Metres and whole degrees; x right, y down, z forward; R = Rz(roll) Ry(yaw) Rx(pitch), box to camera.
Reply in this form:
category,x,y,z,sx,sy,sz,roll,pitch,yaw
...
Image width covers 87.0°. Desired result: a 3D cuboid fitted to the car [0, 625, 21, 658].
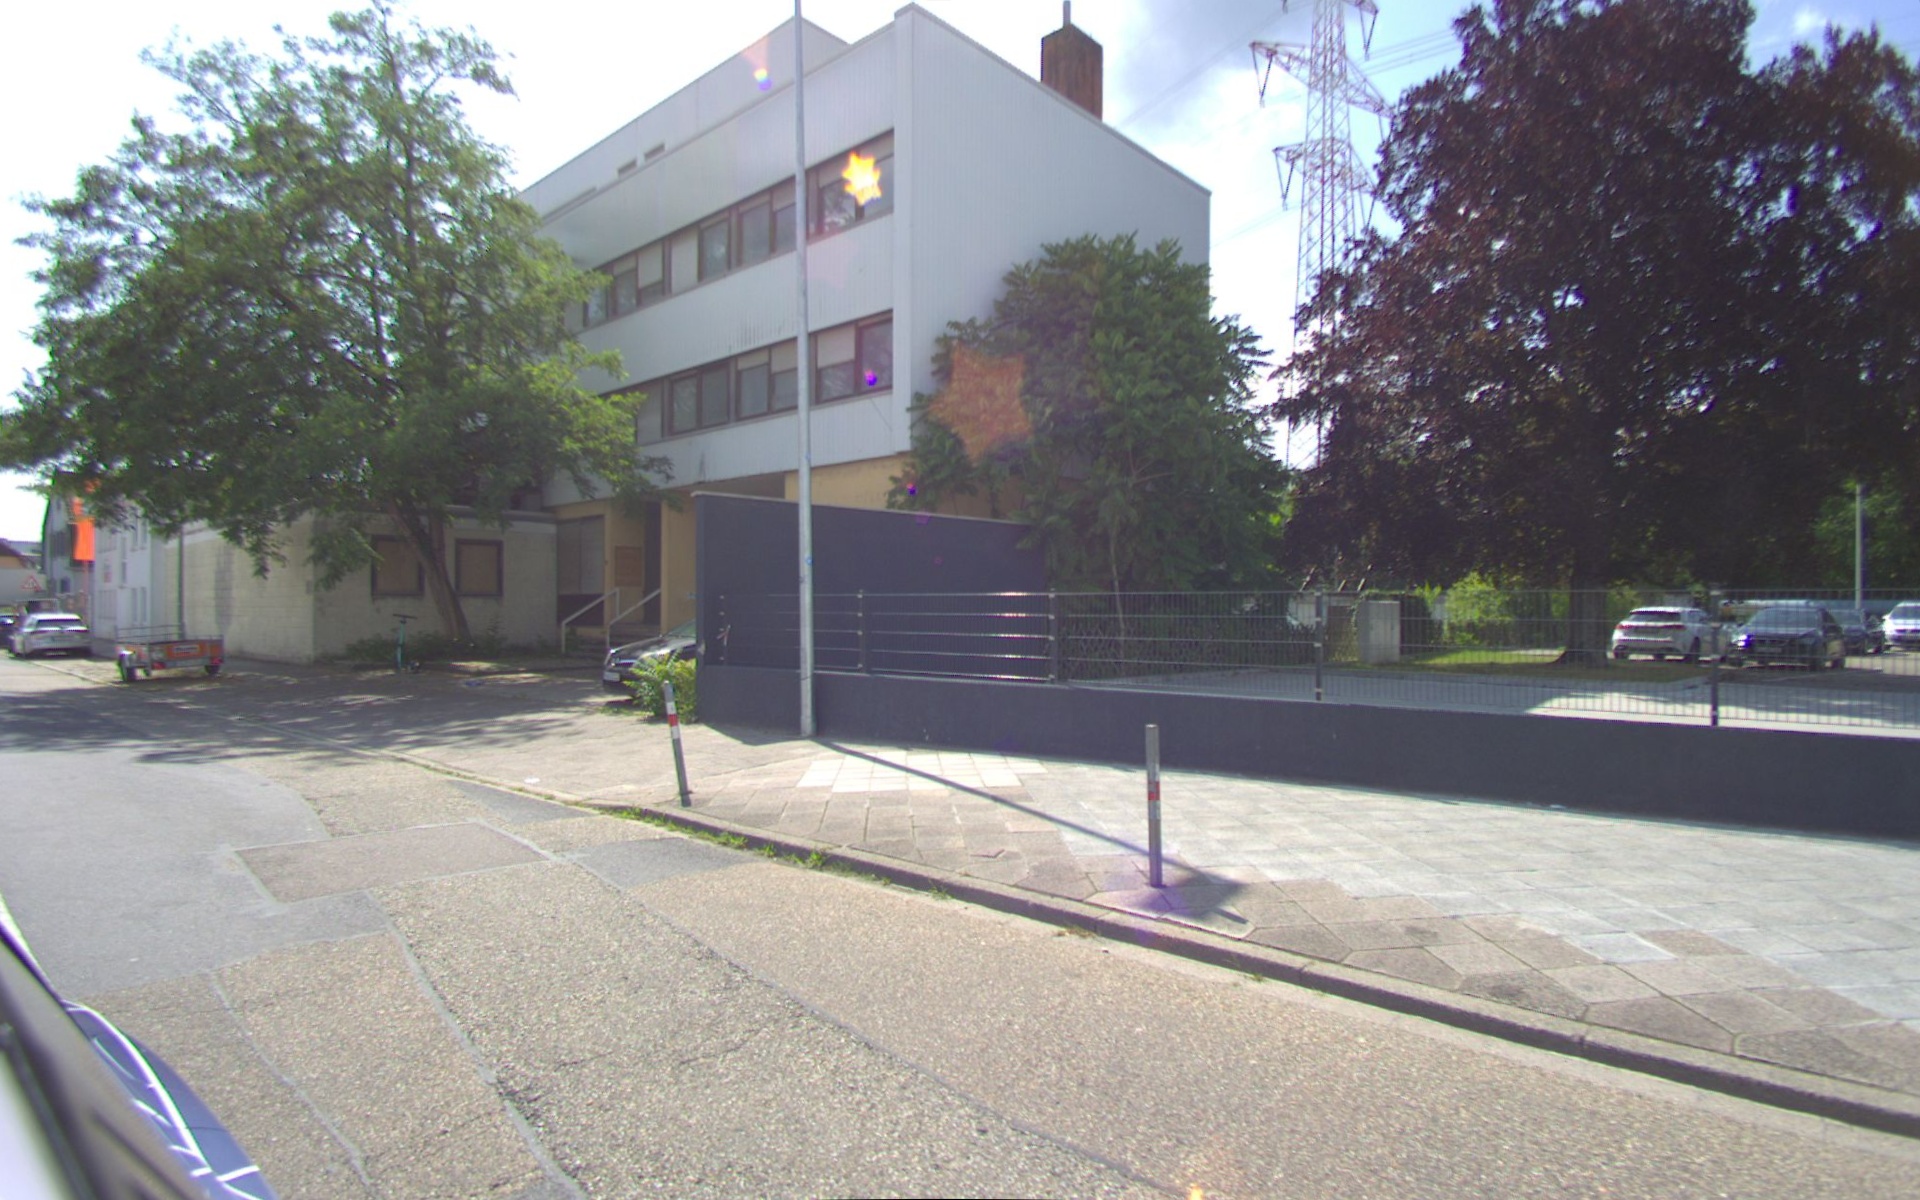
category,x,y,z,sx,sy,sz,roll,pitch,yaw
car,-43.945,1.894,45.775,3.881,1.387,1.656,0,1,40

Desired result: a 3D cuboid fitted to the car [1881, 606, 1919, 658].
category,x,y,z,sx,sy,sz,roll,pitch,yaw
car,32.878,1.089,34.500,4.148,1.675,1.839,2,-2,-43

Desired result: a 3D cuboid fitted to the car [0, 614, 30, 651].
category,x,y,z,sx,sy,sz,roll,pitch,yaw
car,-40.217,1.339,42.176,4.221,1.466,1.656,0,1,41

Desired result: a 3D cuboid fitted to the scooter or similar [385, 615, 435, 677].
category,x,y,z,sx,sy,sz,roll,pitch,yaw
scooter or similar,-11.920,0.974,21.923,1.360,1.288,0.477,0,2,42

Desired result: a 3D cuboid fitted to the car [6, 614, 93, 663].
category,x,y,z,sx,sy,sz,roll,pitch,yaw
car,-30.366,1.230,33.718,4.512,1.466,1.655,0,1,42

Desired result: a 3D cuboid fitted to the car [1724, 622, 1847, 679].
category,x,y,z,sx,sy,sz,roll,pitch,yaw
car,19.967,1.171,24.413,4.149,1.236,1.831,2,-2,-44

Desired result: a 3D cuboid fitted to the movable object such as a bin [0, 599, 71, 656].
category,x,y,z,sx,sy,sz,roll,pitch,yaw
movable object such as a bin,-34.960,0.992,38.003,5.135,1.933,1.597,-1,2,41

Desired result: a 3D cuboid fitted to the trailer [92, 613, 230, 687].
category,x,y,z,sx,sy,sz,roll,pitch,yaw
trailer,-18.582,1.087,23.466,4.334,1.450,1.748,0,2,42

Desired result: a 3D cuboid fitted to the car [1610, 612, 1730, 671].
category,x,y,z,sx,sy,sz,roll,pitch,yaw
car,18.720,1.057,26.621,4.231,1.419,1.831,2,-2,-44

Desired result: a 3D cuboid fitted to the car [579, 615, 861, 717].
category,x,y,z,sx,sy,sz,roll,pitch,yaw
car,-3.654,0.940,15.848,1.795,1.372,3.947,0,-1,45

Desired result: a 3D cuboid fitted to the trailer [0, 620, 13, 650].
category,x,y,z,sx,sy,sz,roll,pitch,yaw
trailer,-48.121,1.711,49.700,5.047,1.387,1.749,0,1,40
